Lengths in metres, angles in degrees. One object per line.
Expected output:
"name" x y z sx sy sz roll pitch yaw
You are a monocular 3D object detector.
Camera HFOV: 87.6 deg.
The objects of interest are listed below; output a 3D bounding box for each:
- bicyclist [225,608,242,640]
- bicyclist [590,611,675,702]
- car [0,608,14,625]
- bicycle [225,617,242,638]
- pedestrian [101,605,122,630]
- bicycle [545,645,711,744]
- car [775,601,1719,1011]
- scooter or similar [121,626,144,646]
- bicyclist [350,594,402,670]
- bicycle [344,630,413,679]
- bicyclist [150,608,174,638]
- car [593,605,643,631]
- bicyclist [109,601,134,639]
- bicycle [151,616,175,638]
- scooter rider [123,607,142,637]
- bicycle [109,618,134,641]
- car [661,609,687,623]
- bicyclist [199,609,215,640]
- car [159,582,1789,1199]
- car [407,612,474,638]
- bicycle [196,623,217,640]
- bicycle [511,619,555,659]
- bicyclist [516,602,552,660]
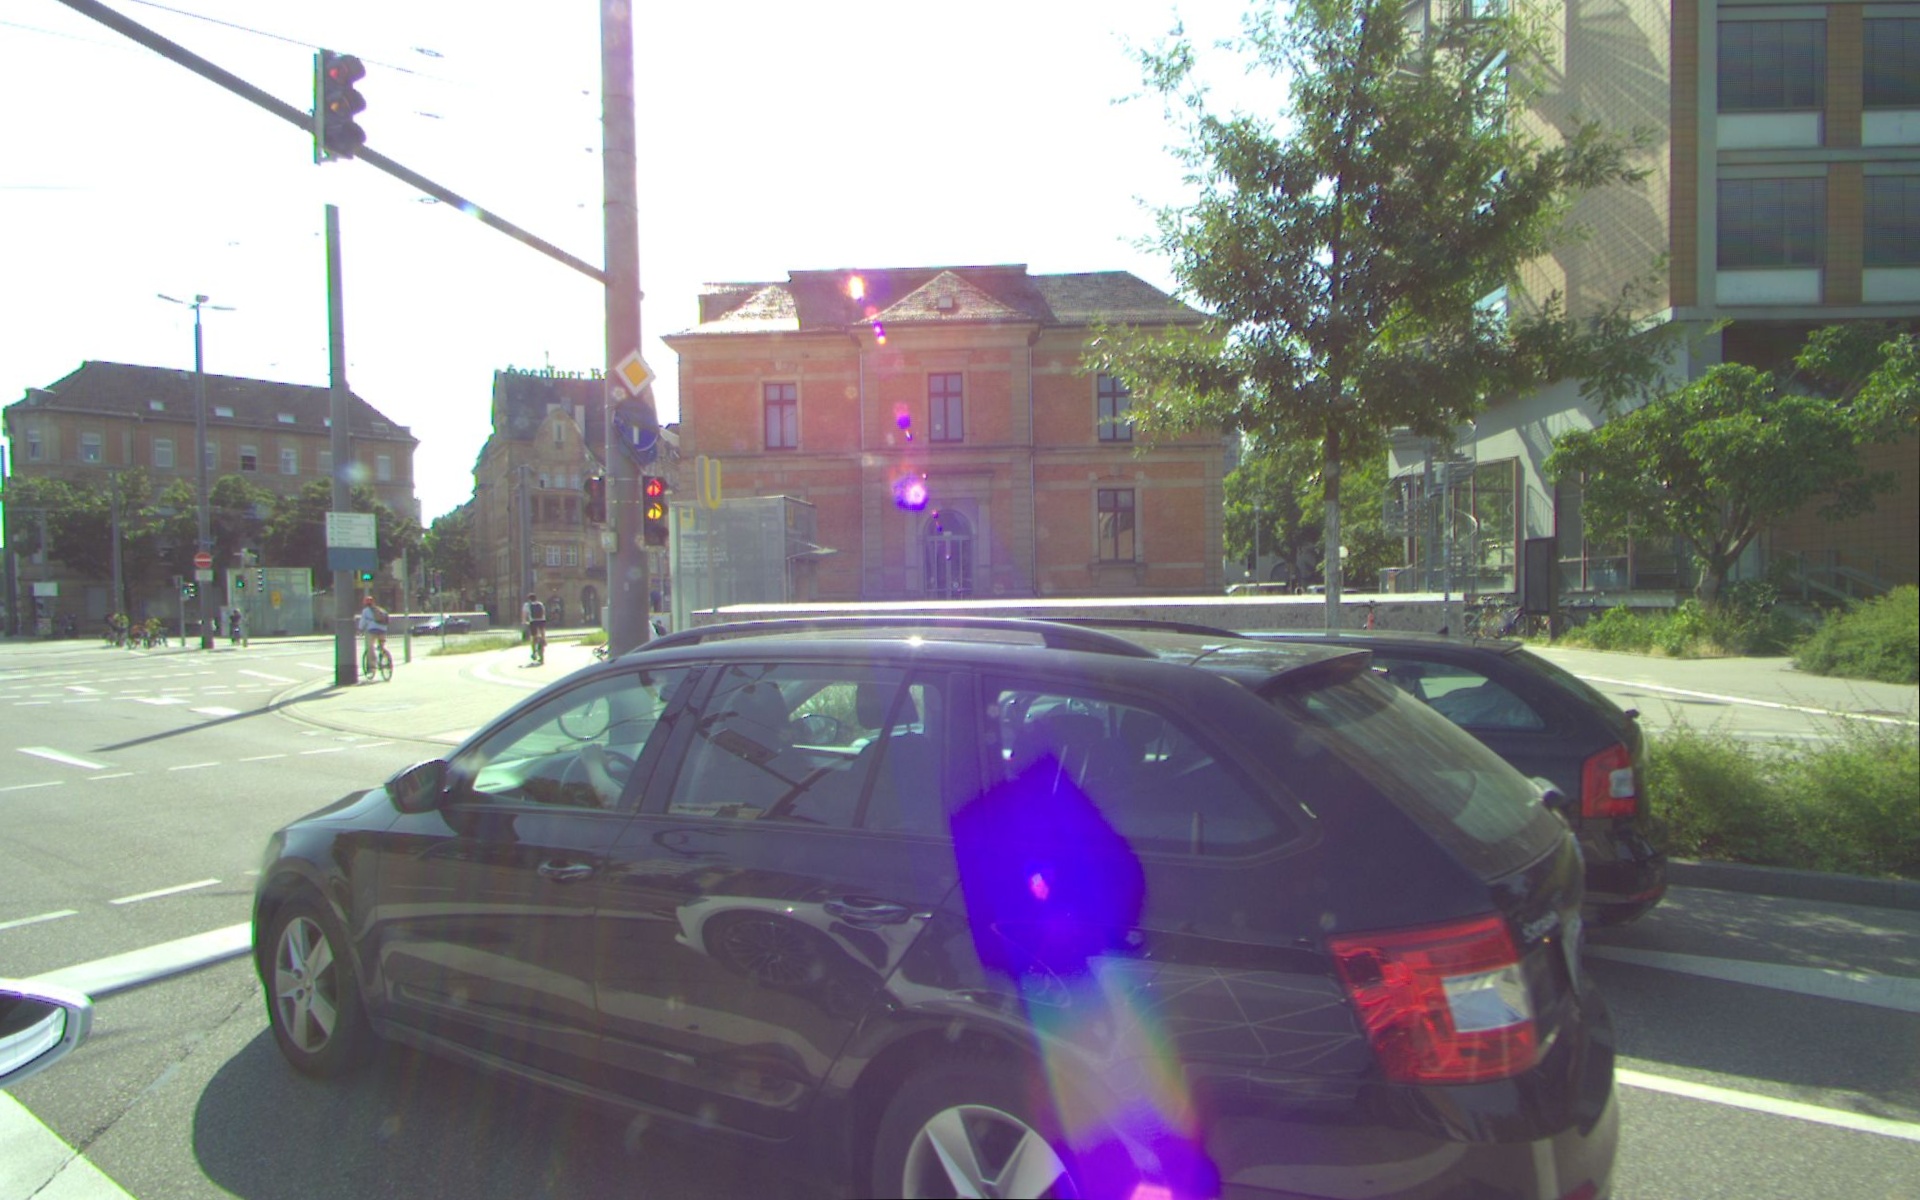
"bicyclist" -37.343 1.225 51.471 0.660 1.645 0.777 1 0 -35
"bicyclist" -4.141 0.692 12.643 0.901 1.043 0.714 -3 2 -24
"car" -117.241 1.975 122.526 2.094 2.040 3.962 0 -1 -43
"bicycle" -37.767 1.434 52.081 0.660 1.083 2.447 1 -1 -35
"pedestrian" -50.348 1.054 59.436 0.699 1.451 0.614 0 -1 -5
"bicycle" -4.182 1.159 12.629 1.887 1.029 0.714 -3 2 -24
"car" 1.250 0.763 5.433 4.330 1.449 1.697 0 2 29
"scooter or similar" -40.017 1.737 48.426 0.978 0.988 0.585 -1 -2 32
"bicyclist" -13.544 0.724 23.236 0.864 1.692 0.710 0 3 40
"bicycle" -13.528 1.237 23.271 1.997 1.029 0.710 -1 3 41
"bicyclist" -40.287 1.153 50.589 0.919 1.470 1.242 1 -1 -38
"car" -19.153 0.992 56.252 1.639 1.331 3.452 -1 0 -1
"bicyclist" -42.020 1.014 50.178 0.919 1.843 1.044 1 -2 -39
"bicycle" -40.482 1.354 50.866 0.919 1.083 2.819 1 -1 -38
"scooter rider" -40.057 1.063 48.466 0.401 1.415 0.585 -1 -1 32
"bicycle" -42.069 1.494 50.235 0.919 1.082 2.724 1 -2 -40
"car" -30.890 1.717 108.209 1.606 1.363 3.583 -1 0 1
"bicyclist" -40.058 1.295 53.278 0.641 1.642 0.498 0 -1 38
"car" -0.546 0.768 3.201 4.710 1.454 1.628 -1 -1 31
"car" -33.501 1.601 64.693 1.608 1.604 3.997 -1 0 12
"bicycle" -40.089 1.681 53.301 1.567 0.877 0.498 0 -1 38
"bicycle" -11.250 1.030 26.443 0.703 1.028 2.019 0 -2 -13
"bicyclist" -11.255 0.828 26.465 0.703 1.507 0.949 0 -1 -12
